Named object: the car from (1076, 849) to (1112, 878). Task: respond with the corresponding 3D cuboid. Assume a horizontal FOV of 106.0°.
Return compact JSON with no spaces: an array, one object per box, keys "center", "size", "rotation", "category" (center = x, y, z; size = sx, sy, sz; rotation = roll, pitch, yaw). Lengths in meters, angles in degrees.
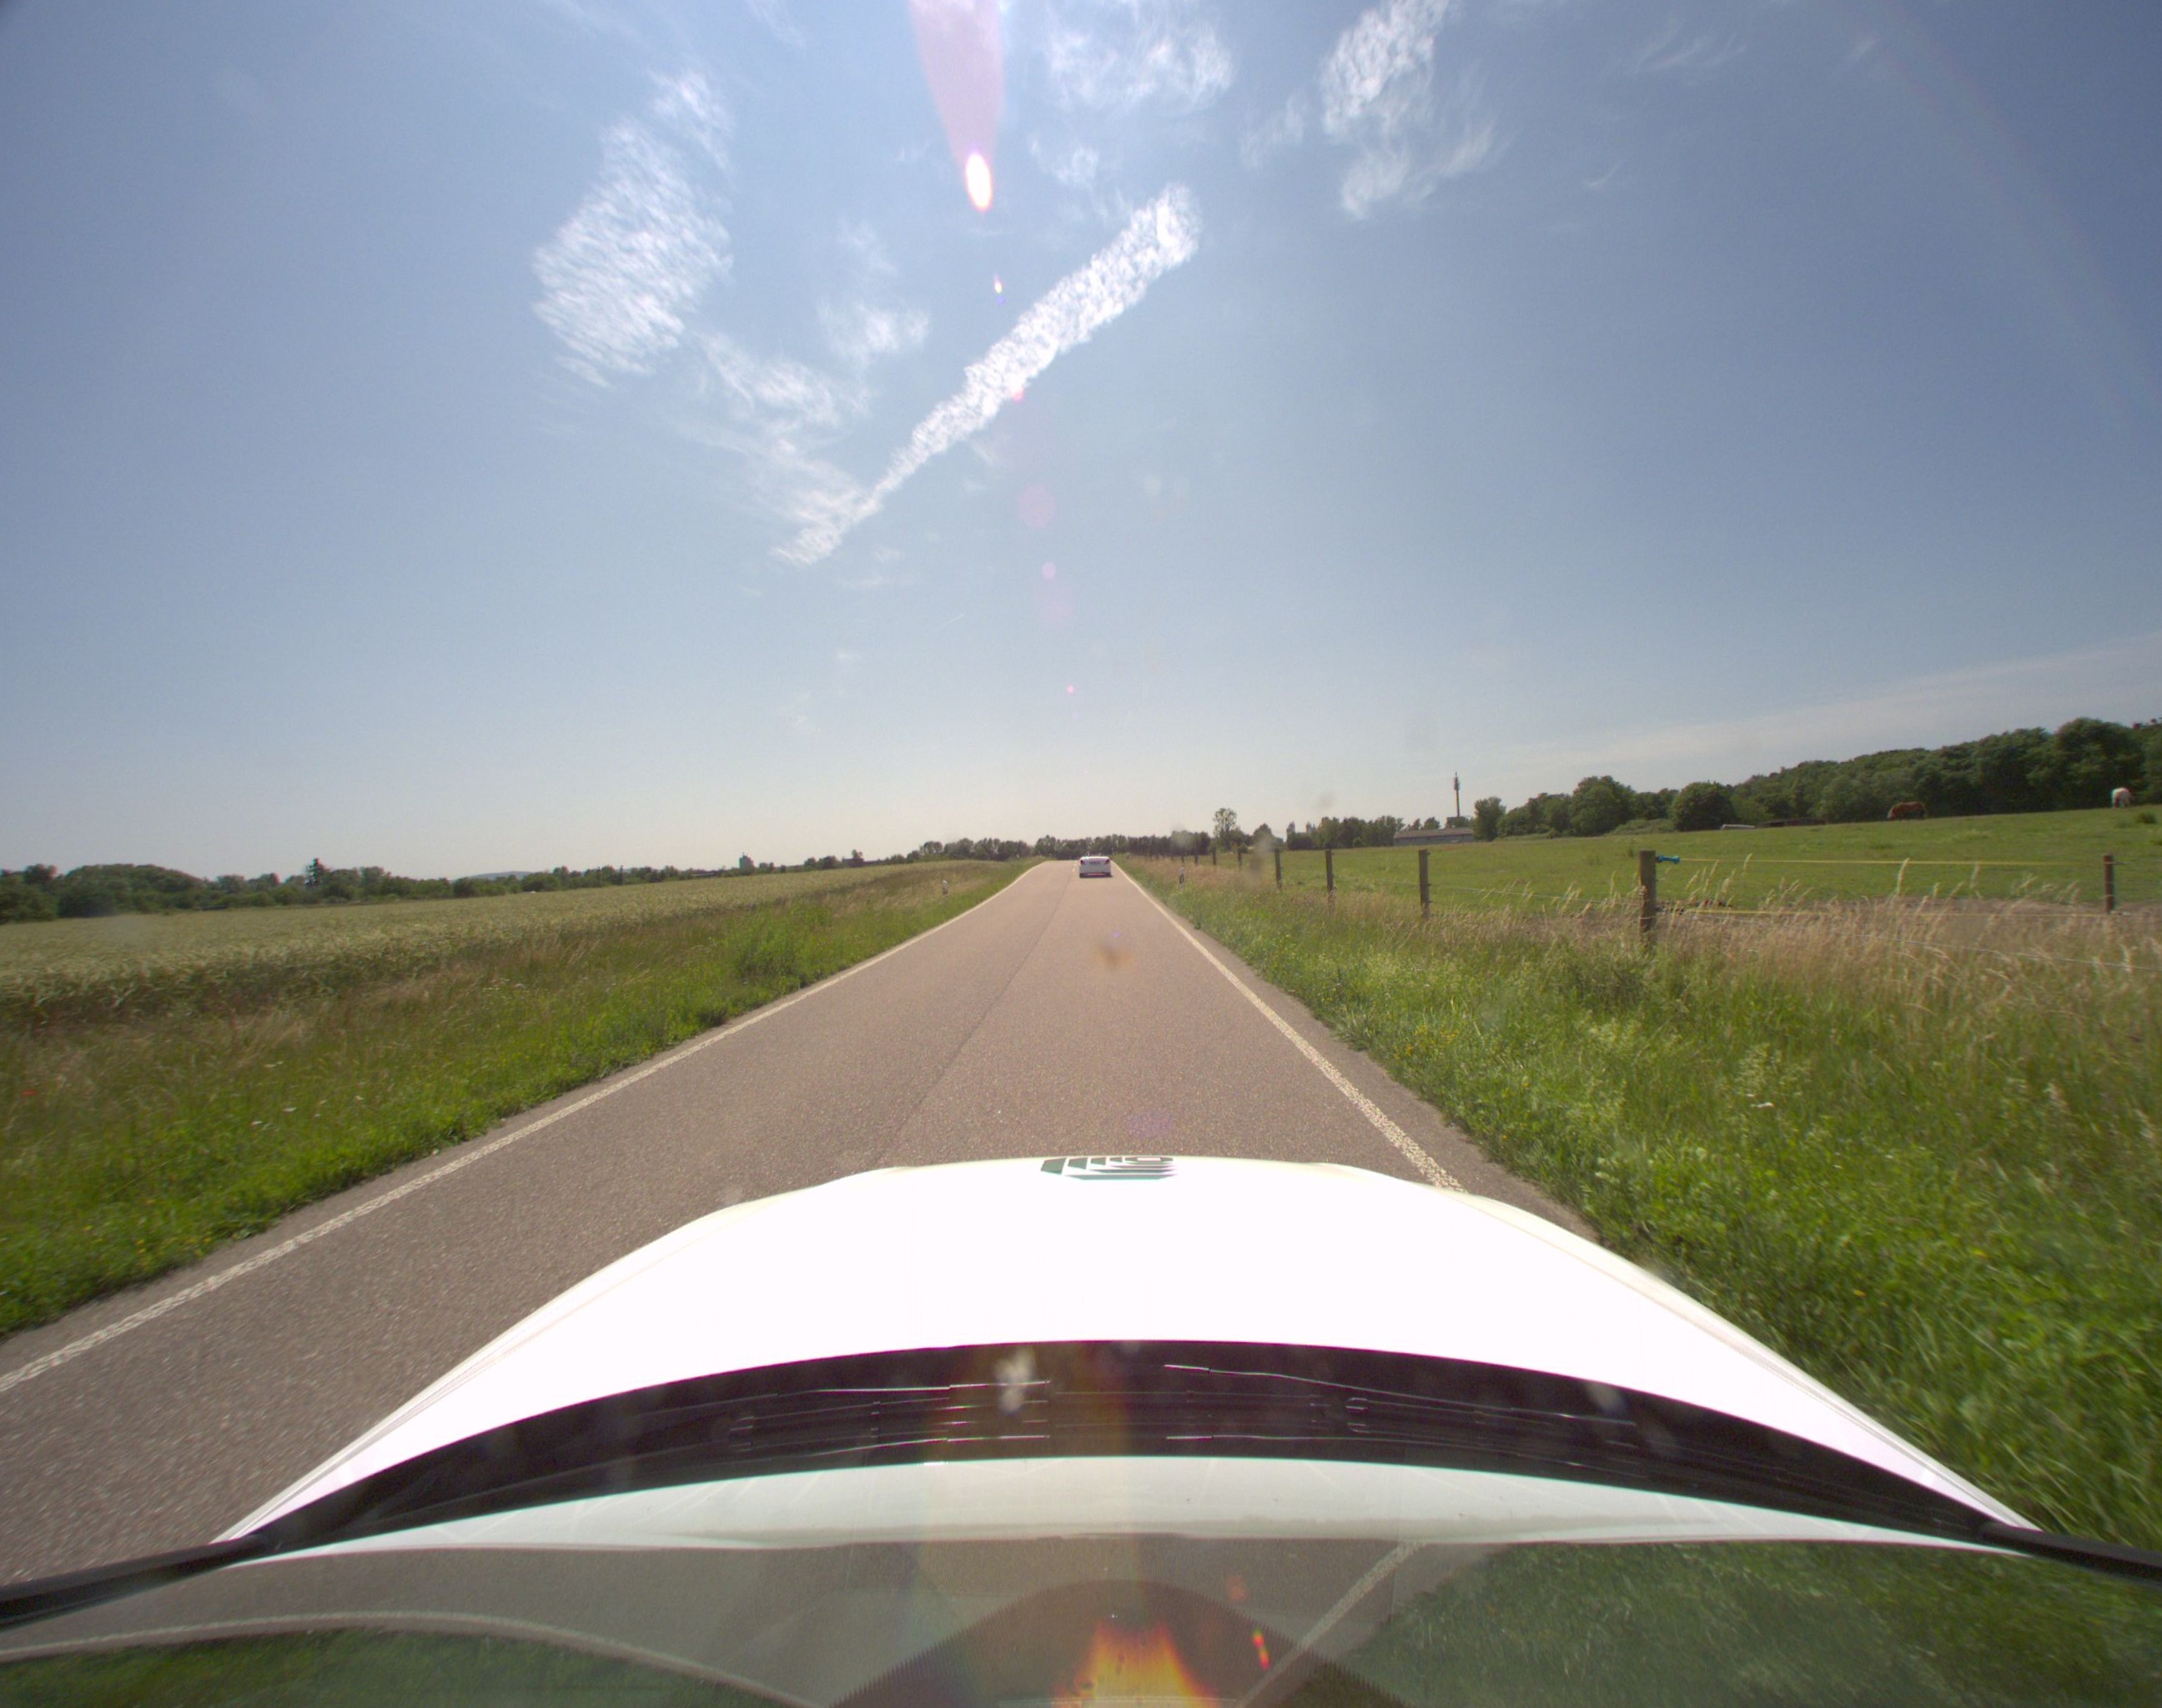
[{"center":[0.694,0.490,44.593],"size":[1.845,1.379,4.000],"rotation":[-1,1,0],"category":"car"}]
